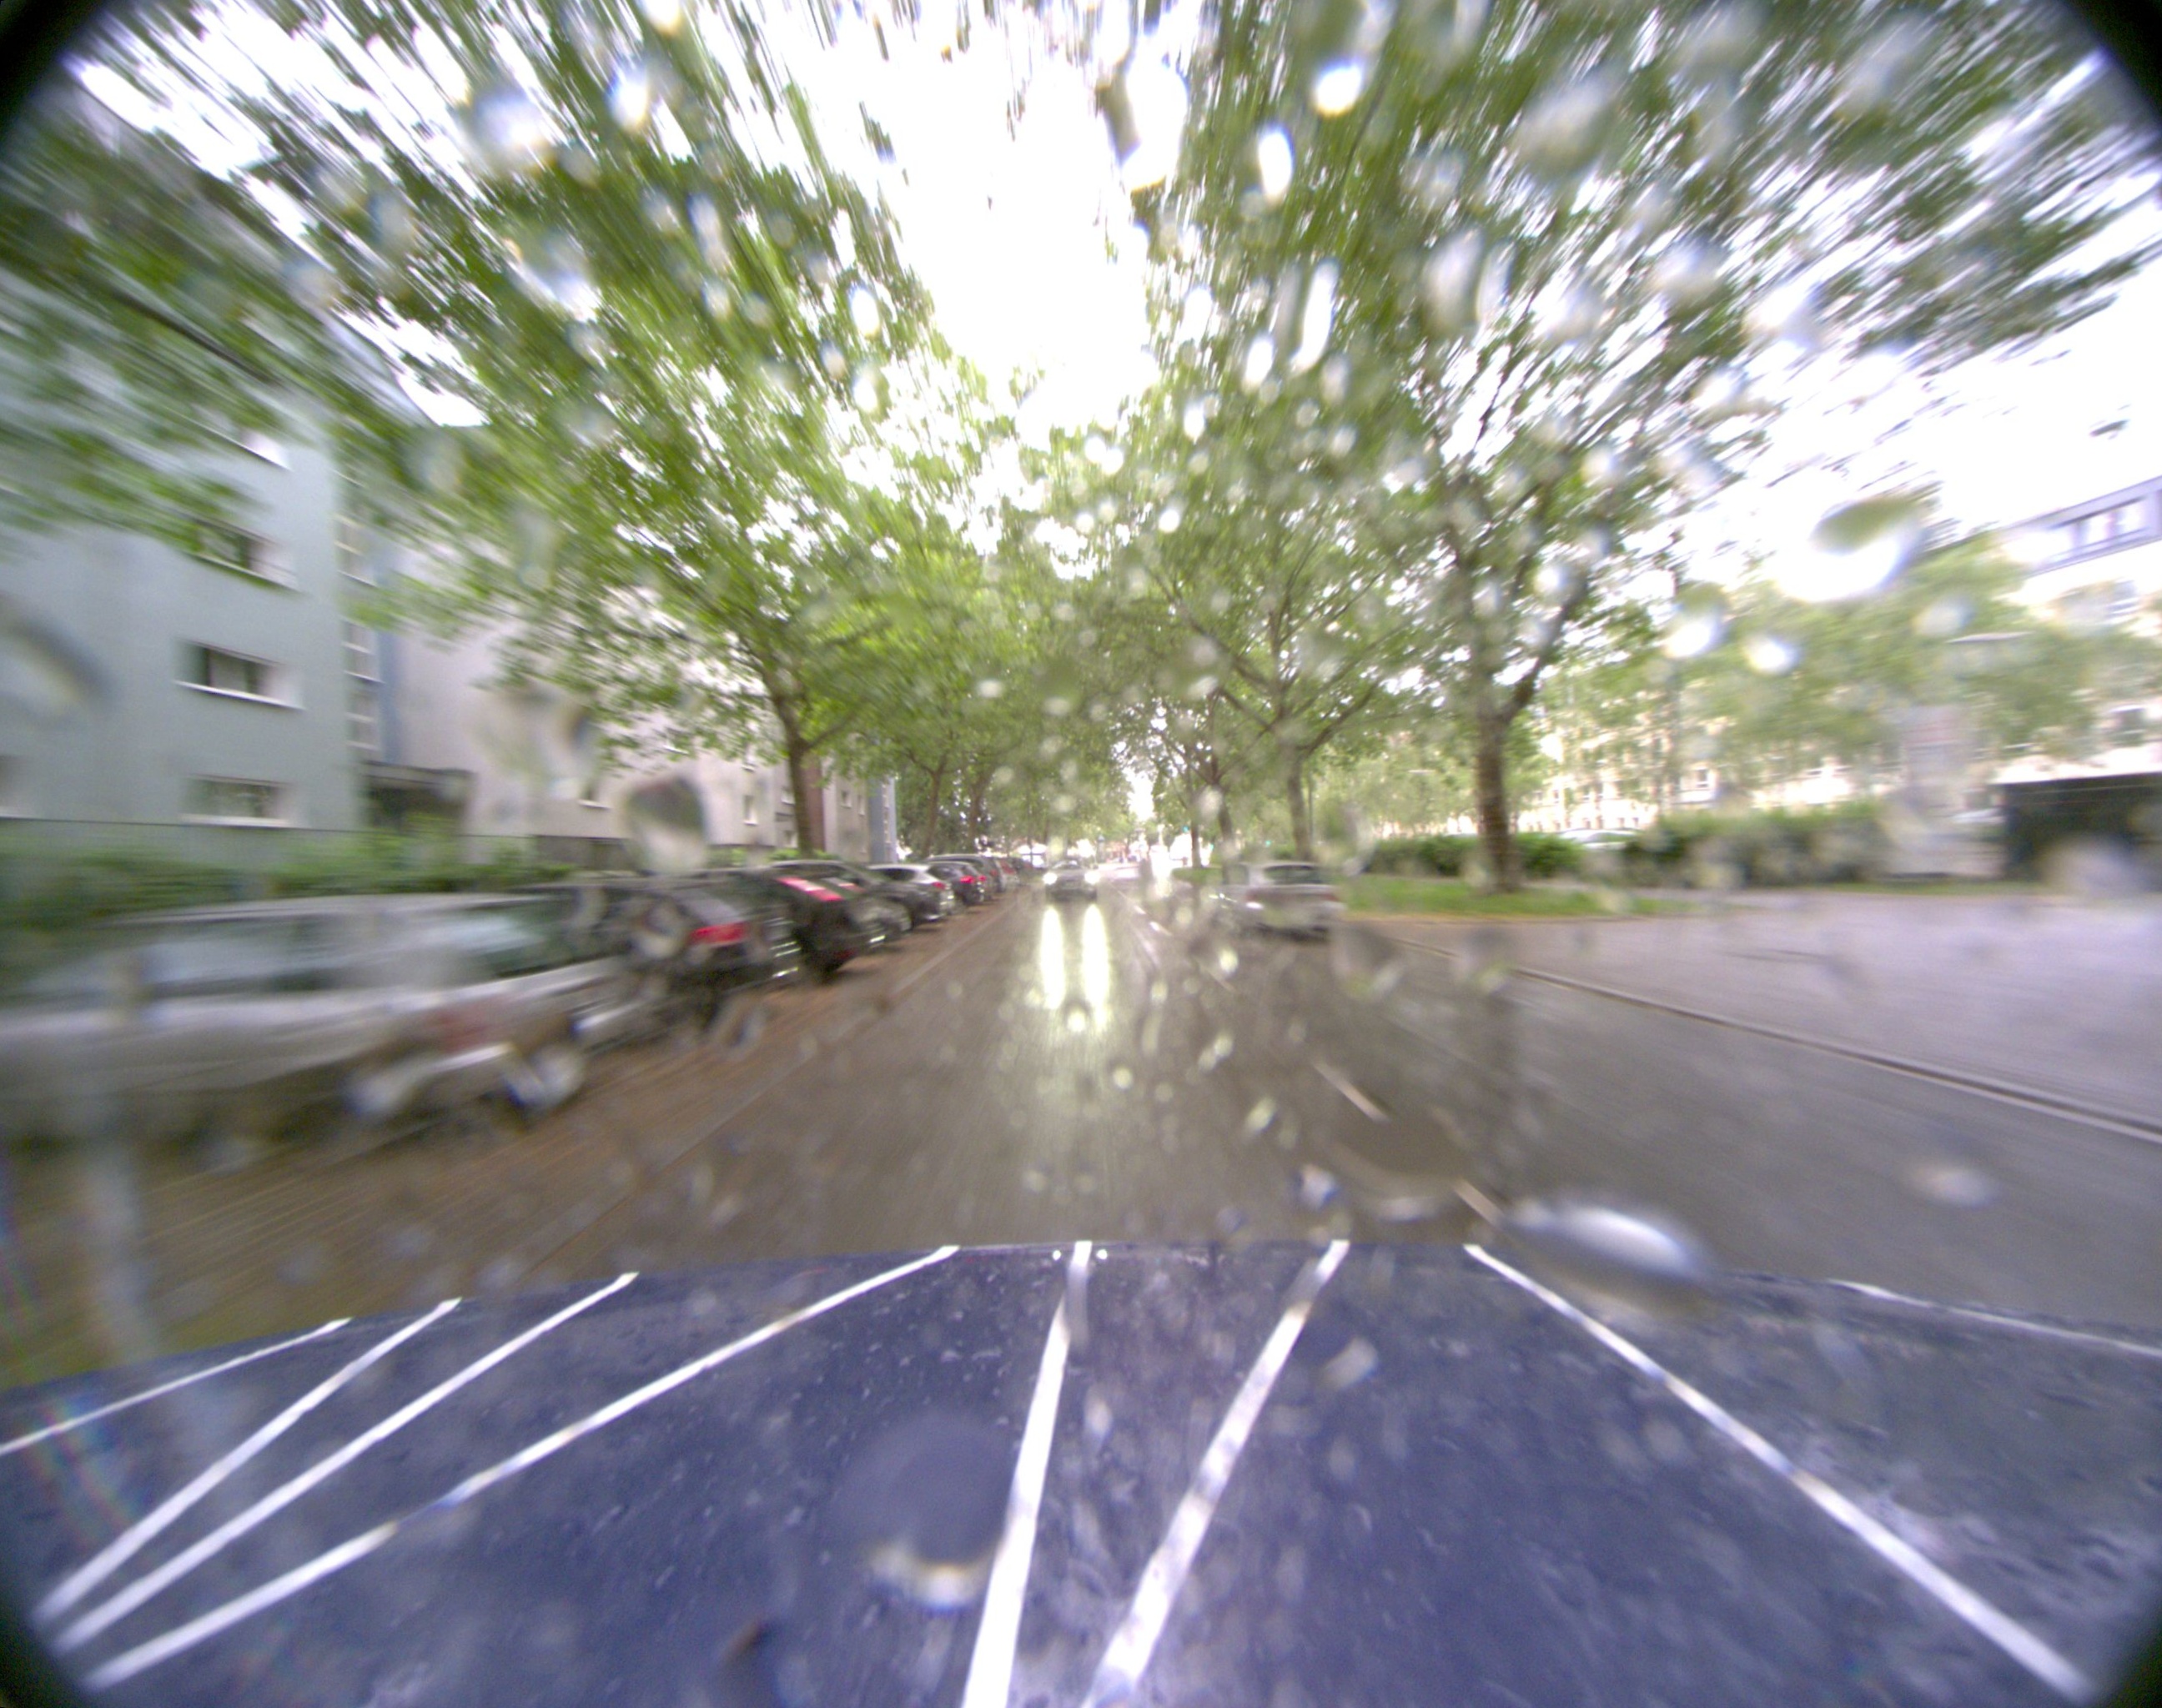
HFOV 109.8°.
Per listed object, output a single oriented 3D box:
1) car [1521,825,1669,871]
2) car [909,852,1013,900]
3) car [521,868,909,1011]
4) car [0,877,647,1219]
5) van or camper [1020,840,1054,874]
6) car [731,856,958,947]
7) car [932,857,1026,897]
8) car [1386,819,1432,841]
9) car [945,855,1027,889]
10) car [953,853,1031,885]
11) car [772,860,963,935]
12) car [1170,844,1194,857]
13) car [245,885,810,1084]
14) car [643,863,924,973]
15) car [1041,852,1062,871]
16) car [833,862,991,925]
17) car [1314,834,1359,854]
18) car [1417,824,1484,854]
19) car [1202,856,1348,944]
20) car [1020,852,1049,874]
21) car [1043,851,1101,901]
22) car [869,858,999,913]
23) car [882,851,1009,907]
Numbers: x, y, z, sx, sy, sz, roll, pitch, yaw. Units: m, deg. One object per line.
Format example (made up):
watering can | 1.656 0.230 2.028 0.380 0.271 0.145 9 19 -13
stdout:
car | 18.336 -0.209 27.240 3.998 1.584 1.999 0 0 -3
car | -5.044 0.914 32.349 3.997 1.717 1.801 -4 0 1
car | -4.560 1.034 9.957 4.110 1.504 1.864 -2 0 1
car | -5.152 1.030 4.625 3.997 1.569 1.679 -2 0 1
van or camper | -3.873 0.244 68.410 2.324 2.791 6.864 -3 0 2
car | -4.977 0.965 16.446 4.221 1.646 1.913 -3 0 0
car | -4.595 1.027 34.717 3.997 1.504 1.801 -4 0 -1
car | 53.911 -3.876 124.900 6.212 3.175 2.838 -4 0 -2
car | -4.619 0.874 37.416 3.712 1.527 1.738 -1 0 3
car | -4.913 0.836 42.037 3.873 1.687 1.834 -1 -1 -27
car | -5.229 1.041 19.028 4.221 1.575 1.746 -3 0 -2
car | 20.257 -0.684 152.334 2.190 2.242 4.893 -3 0 41
car | -4.861 1.113 7.096 3.997 1.429 1.679 -2 0 1
car | -4.935 1.036 13.045 4.052 1.521 1.780 -3 0 -2
car | -2.902 0.689 75.039 1.921 1.611 4.452 -4 2 -1
car | -4.691 1.075 21.512 4.046 1.433 1.685 -4 0 -3
car | 26.604 -1.053 79.159 3.998 1.822 1.854 -4 0 -3
car | 27.535 -1.098 56.698 3.997 2.002 2.000 -2 0 1
car | 3.530 0.761 14.713 1.683 1.380 4.549 -2 0 1
car | -3.871 0.760 62.883 1.693 1.643 2.942 -4 0 -16
car | -0.269 0.752 28.754 1.961 1.702 4.174 -2 0 2
car | -4.903 1.046 25.725 3.997 1.528 1.631 -4 0 0
car | -5.008 0.917 28.510 4.348 1.751 1.819 -4 0 0
